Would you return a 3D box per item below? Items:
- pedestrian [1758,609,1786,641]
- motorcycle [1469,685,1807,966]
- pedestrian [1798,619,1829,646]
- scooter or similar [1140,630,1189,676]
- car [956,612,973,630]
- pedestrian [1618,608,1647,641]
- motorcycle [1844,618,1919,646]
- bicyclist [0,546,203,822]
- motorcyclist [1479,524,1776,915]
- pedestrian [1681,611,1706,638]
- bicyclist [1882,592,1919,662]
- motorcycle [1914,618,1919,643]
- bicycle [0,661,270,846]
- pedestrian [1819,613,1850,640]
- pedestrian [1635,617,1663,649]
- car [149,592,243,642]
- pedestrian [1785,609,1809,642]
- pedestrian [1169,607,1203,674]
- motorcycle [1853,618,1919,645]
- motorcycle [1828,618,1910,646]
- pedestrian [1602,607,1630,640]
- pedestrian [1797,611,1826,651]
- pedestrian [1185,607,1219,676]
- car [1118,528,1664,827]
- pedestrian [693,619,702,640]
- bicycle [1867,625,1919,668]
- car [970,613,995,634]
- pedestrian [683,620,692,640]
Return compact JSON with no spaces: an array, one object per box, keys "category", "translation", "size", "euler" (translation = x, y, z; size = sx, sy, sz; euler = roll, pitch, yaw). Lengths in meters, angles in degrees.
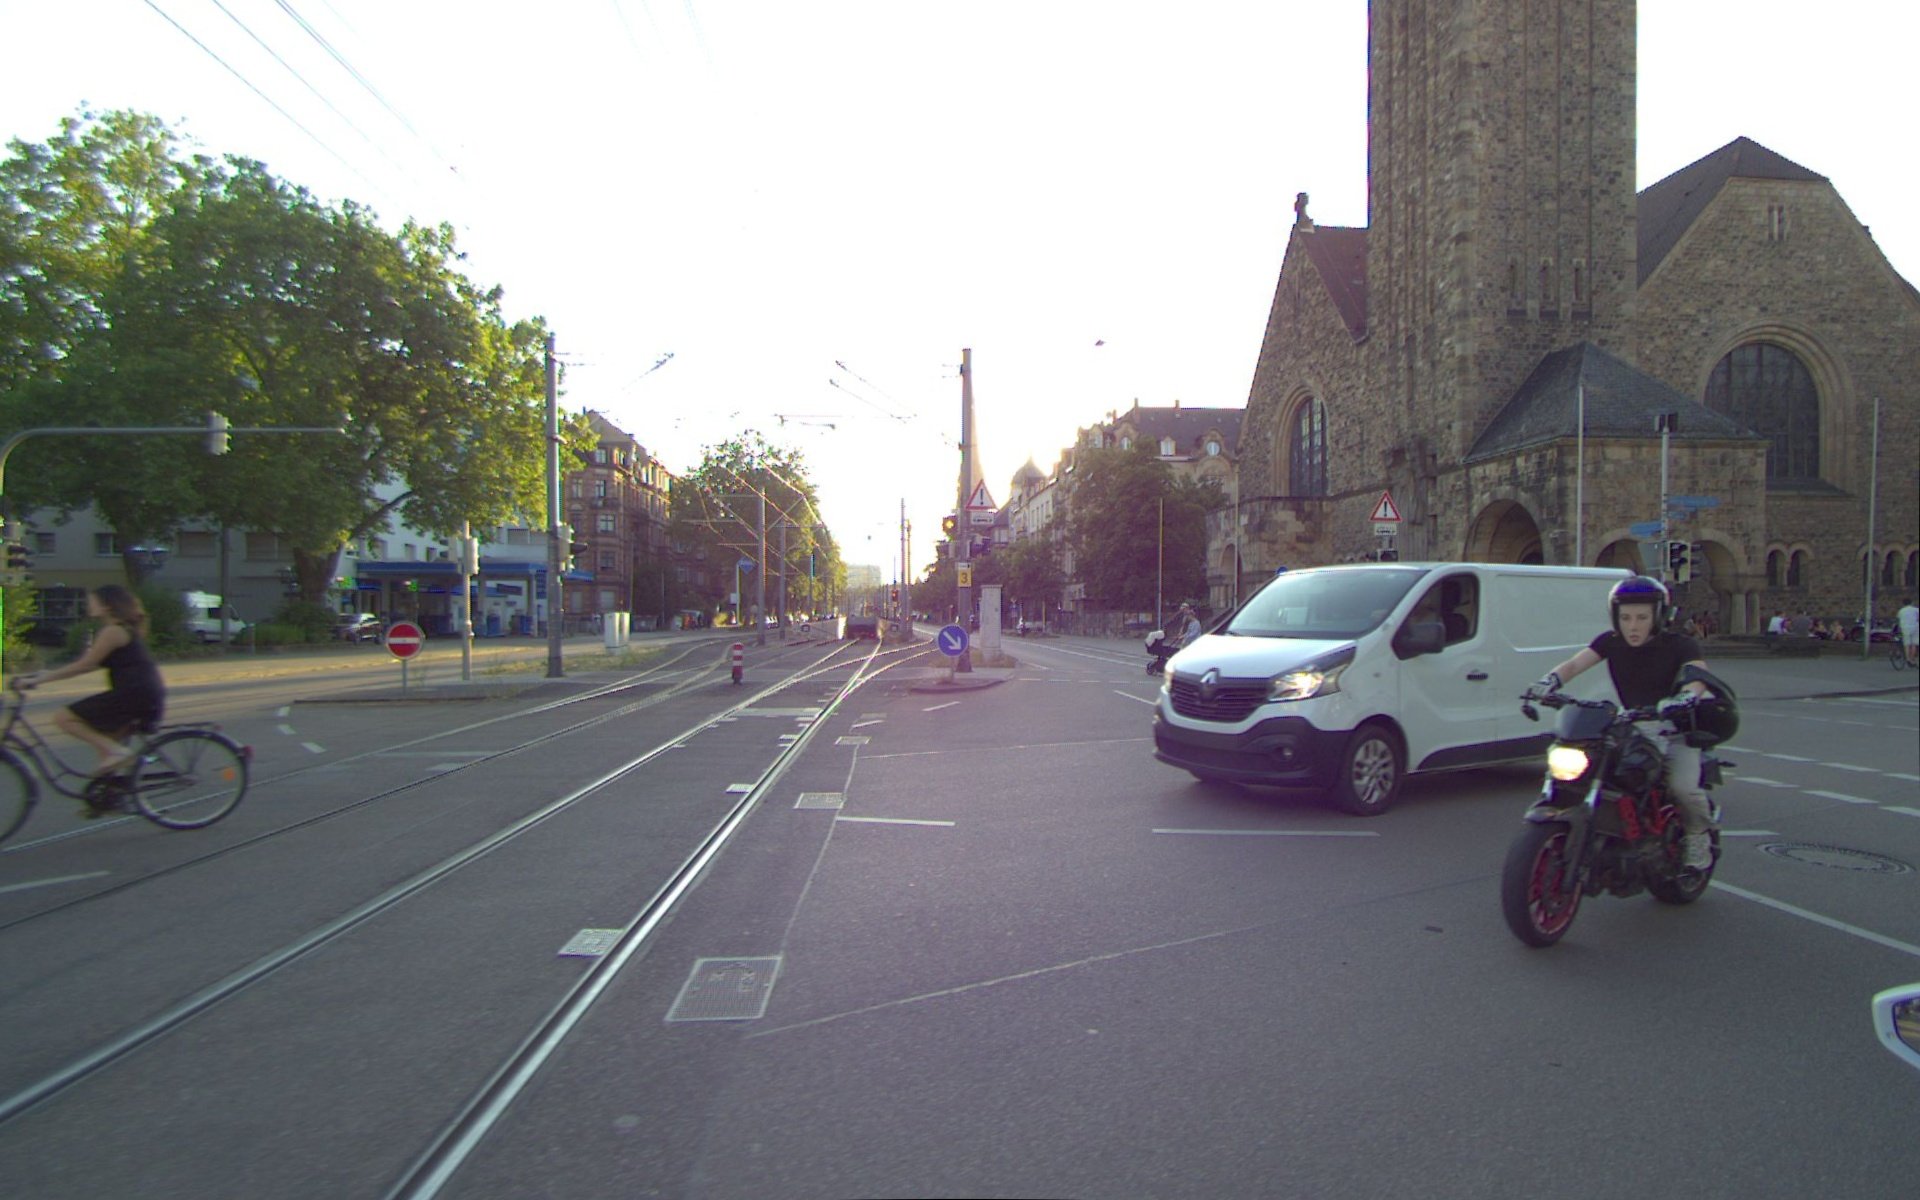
[{"category":"pedestrian","translation":[25.565,0.779,31.626],"size":[0.471,0.973,0.522],"euler":[1,0,-11]},{"category":"motorcycle","translation":[3.347,0.996,4.904],"size":[1.923,1.057,0.596],"euler":[1,0,-31]},{"category":"pedestrian","translation":[31.345,1.177,36.899],"size":[0.696,0.973,0.553],"euler":[1,0,-8]},{"category":"scooter or similar","translation":[5.198,1.341,25.561],"size":[1.061,1.118,0.633],"euler":[1,0,-18]},{"category":"car","translation":[0.523,2.531,121.798],"size":[1.961,2.040,3.999],"euler":[1,0,-2]},{"category":"pedestrian","translation":[20.065,0.718,29.974],"size":[0.471,0.973,0.522],"euler":[1,0,-9]},{"category":"motorcycle","translation":[35.742,1.207,38.832],"size":[0.700,1.001,2.230],"euler":[0,0,-34]},{"category":"bicyclist","translation":[-5.591,0.512,6.556],"size":[0.952,1.666,0.596],"euler":[0,0,-30]},{"category":"motorcyclist","translation":[3.234,0.514,4.898],"size":[0.952,1.666,0.870],"euler":[0,0,-30]},{"category":"pedestrian","translation":[27.464,0.911,37.596],"size":[0.702,0.973,0.548],"euler":[0,0,-35]},{"category":"bicyclist","translation":[25.351,0.713,26.886],"size":[0.846,1.852,0.655],"euler":[0,0,-21]},{"category":"motorcycle","translation":[38.879,1.242,39.416],"size":[0.583,1.001,2.168],"euler":[1,0,-9]},{"category":"bicycle","translation":[-5.678,0.964,6.522],"size":[1.923,1.057,0.596],"euler":[1,0,-31]},{"category":"pedestrian","translation":[32.131,0.959,36.911],"size":[0.696,0.973,0.553],"euler":[1,0,-8]},{"category":"pedestrian","translation":[21.013,1.008,30.654],"size":[0.513,0.973,0.479],"euler":[1,0,1]},{"category":"car","translation":[-38.441,0.834,50.694],"size":[1.962,2.375,3.996],"euler":[1,0,-6]},{"category":"pedestrian","translation":[25.824,0.781,30.981],"size":[0.476,0.973,0.516],"euler":[0,0,-44]},{"category":"pedestrian","translation":[5.933,1.049,26.397],"size":[0.594,1.721,0.632],"euler":[0,0,-21]},{"category":"motorcycle","translation":[36.436,1.215,39.209],"size":[0.700,1.001,2.230],"euler":[0,0,-34]},{"category":"motorcycle","translation":[34.647,1.195,38.309],"size":[0.700,1.001,2.230],"euler":[0,0,-34]},{"category":"pedestrian","translation":[20.013,0.718,30.657],"size":[0.471,0.973,0.522],"euler":[1,0,-9]},{"category":"pedestrian","translation":[27.300,0.983,32.203],"size":[0.514,1.262,0.478],"euler":[1,0,-11]},{"category":"pedestrian","translation":[6.184,1.050,25.710],"size":[0.593,1.721,0.633],"euler":[0,0,-18]},{"category":"car","translation":[3.946,0.571,8.959],"size":[4.892,2.040,1.984],"euler":[1,-1,-30]},{"category":"pedestrian","translation":[-26.434,2.956,101.072],"size":[0.837,2.040,0.712],"euler":[1,0,-8]},{"category":"bicycle","translation":[25.380,1.231,26.883],"size":[2.210,1.092,0.656],"euler":[1,0,-19]},{"category":"car","translation":[2.338,2.454,106.116],"size":[1.964,2.040,3.993],"euler":[1,0,-9]},{"category":"pedestrian","translation":[-27.367,2.995,100.835],"size":[0.837,2.040,0.712],"euler":[1,0,-8]}]
